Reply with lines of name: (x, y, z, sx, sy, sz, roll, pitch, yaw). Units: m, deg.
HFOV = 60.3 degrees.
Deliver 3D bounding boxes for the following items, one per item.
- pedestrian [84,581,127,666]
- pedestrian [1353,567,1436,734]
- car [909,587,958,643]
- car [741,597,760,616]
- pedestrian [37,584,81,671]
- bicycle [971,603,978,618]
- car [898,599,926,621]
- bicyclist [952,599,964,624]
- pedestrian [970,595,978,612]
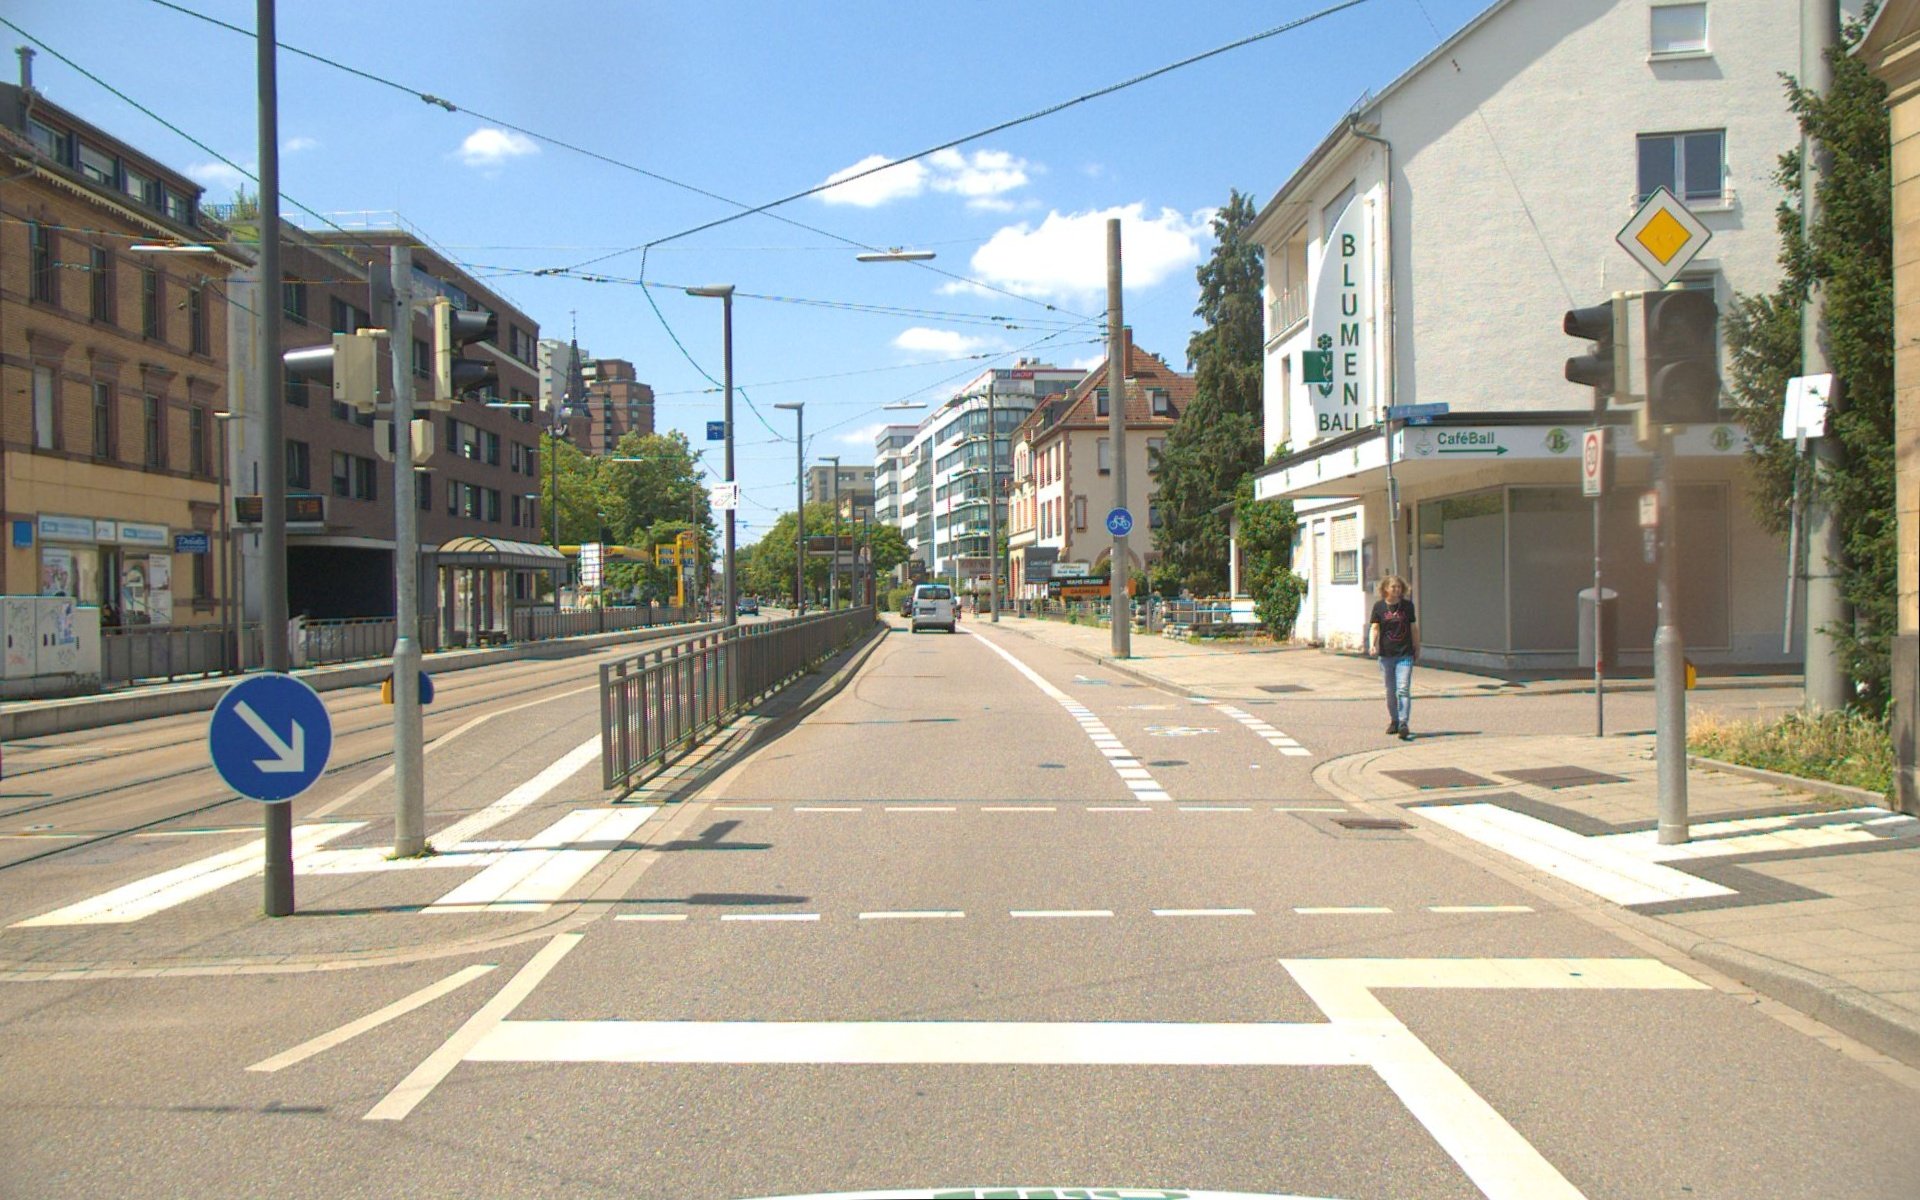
pedestrian: (-20.569, 0.565, 39.817, 0.663, 2.049, 0.684, 0, -1, -4)
pedestrian: (4.309, 0.494, 16.443, 0.565, 1.583, 0.786, -3, -1, 2)
car: (-1.011, 0.552, 65.171, 1.716, 2.048, 4.001, -2, 1, 1)
car: (-19.633, 0.652, 154.682, 1.666, 1.644, 3.751, -2, -1, -8)
pedestrian: (-21.662, 0.646, 39.787, 0.605, 2.049, 0.810, -1, 0, -3)
bicycle: (0.949, 0.711, 107.842, 0.349, 0.956, 1.317, -3, -1, -1)
car: (-4.022, 0.829, 137.510, 1.827, 1.716, 4.993, -2, 0, -6)
bicyclist: (-0.132, 0.648, 95.777, 0.580, 1.421, 0.840, -1, 0, -6)
pedestrian: (0.925, 0.205, 107.842, 0.473, 1.072, 0.536, -3, -1, -1)
